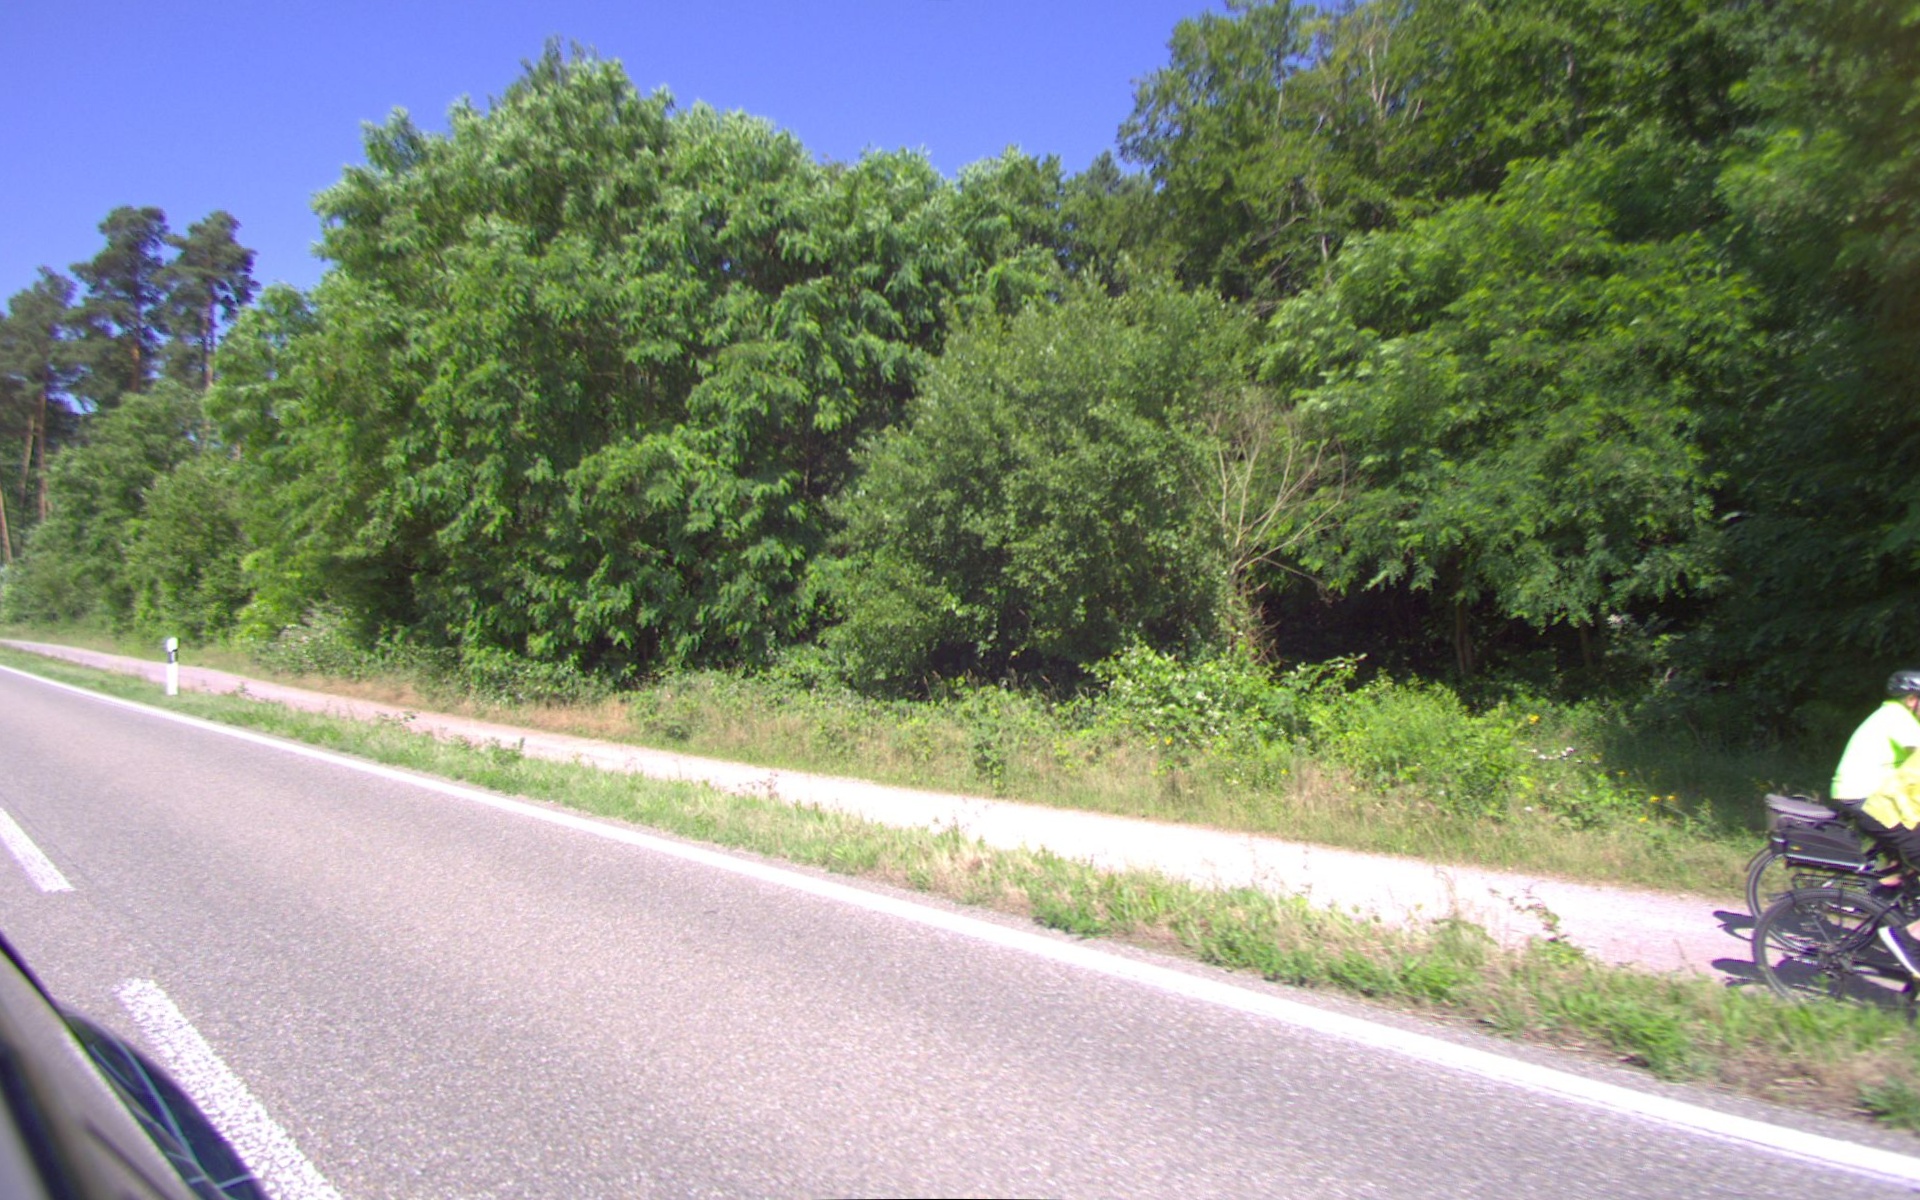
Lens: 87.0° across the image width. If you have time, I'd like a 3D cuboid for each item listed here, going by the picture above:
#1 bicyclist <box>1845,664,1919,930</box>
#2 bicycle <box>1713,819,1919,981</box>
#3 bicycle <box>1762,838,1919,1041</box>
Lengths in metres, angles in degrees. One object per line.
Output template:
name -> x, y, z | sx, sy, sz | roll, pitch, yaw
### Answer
bicyclist -> 5.587, 1.124, 5.831 | 0.702, 1.426, 0.599 | 1, 2, 41
bicycle -> 5.656, 1.778, 5.772 | 2.136, 0.686, 0.612 | -1, -2, 41
bicycle -> 5.123, 1.699, 4.721 | 2.136, 0.794, 0.633 | -1, -4, 41
